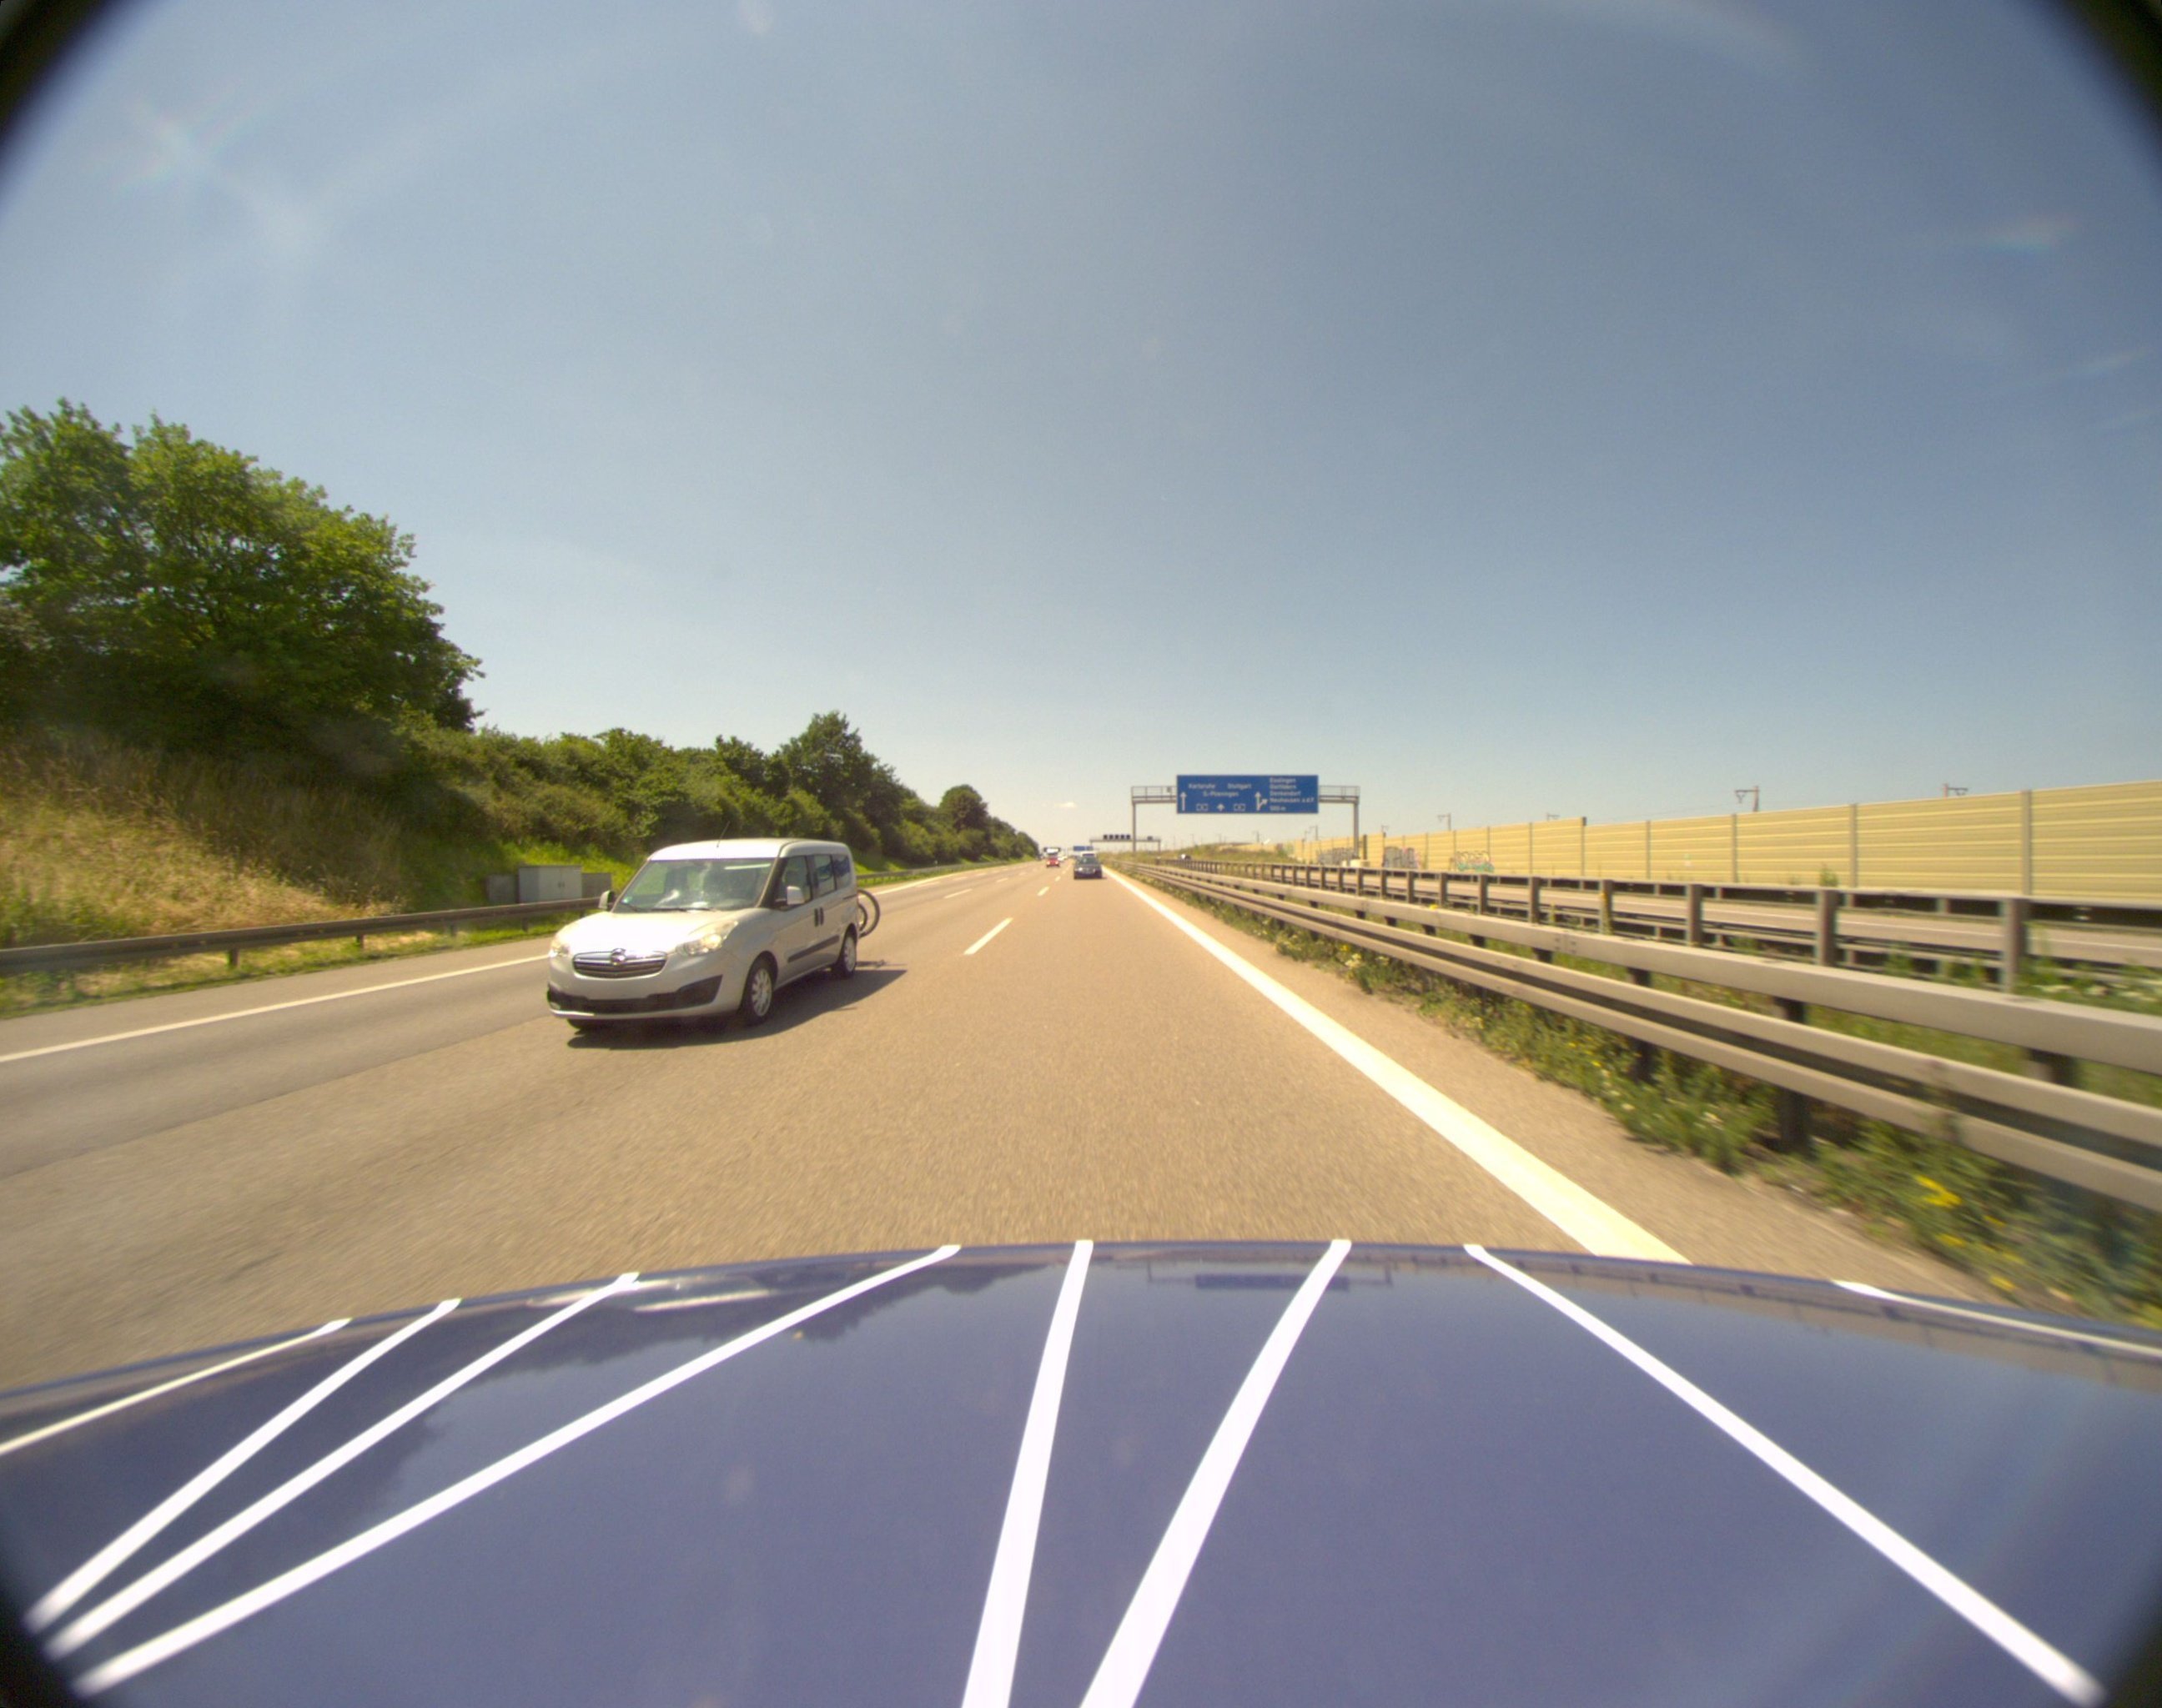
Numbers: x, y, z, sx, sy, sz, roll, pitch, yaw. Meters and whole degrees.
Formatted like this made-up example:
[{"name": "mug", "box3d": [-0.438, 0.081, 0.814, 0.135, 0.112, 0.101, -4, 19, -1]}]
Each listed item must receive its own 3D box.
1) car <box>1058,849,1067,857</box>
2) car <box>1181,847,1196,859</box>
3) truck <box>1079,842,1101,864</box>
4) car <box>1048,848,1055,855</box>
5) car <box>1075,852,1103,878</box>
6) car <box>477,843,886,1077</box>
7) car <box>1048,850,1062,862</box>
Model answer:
[{"name": "car", "box3d": [-3.863, -0.146, 159.720, 1.723, 1.514, 3.581, -2, 1, 0]}, {"name": "car", "box3d": [18.194, -0.124, 128.645, 1.998, 2.002, 4.000, 0, 0, 0]}, {"name": "truck", "box3d": [1.040, -0.203, 88.158, 2.333, 2.378, 6.686, -2, 1, 0]}, {"name": "car", "box3d": [-9.085, -0.717, 232.631, 1.998, 2.002, 3.999, -2, 1, 0]}, {"name": "car", "box3d": [0.490, 0.664, 48.932, 1.715, 1.587, 4.546, 0, 0, 0]}, {"name": "car", "box3d": [-3.883, 0.840, 8.754, 1.812, 1.836, 5.311, -2, 0, 0]}, {"name": "car", "box3d": [-3.373, 0.221, 99.215, 1.723, 1.514, 3.581, -2, 1, 0]}]
